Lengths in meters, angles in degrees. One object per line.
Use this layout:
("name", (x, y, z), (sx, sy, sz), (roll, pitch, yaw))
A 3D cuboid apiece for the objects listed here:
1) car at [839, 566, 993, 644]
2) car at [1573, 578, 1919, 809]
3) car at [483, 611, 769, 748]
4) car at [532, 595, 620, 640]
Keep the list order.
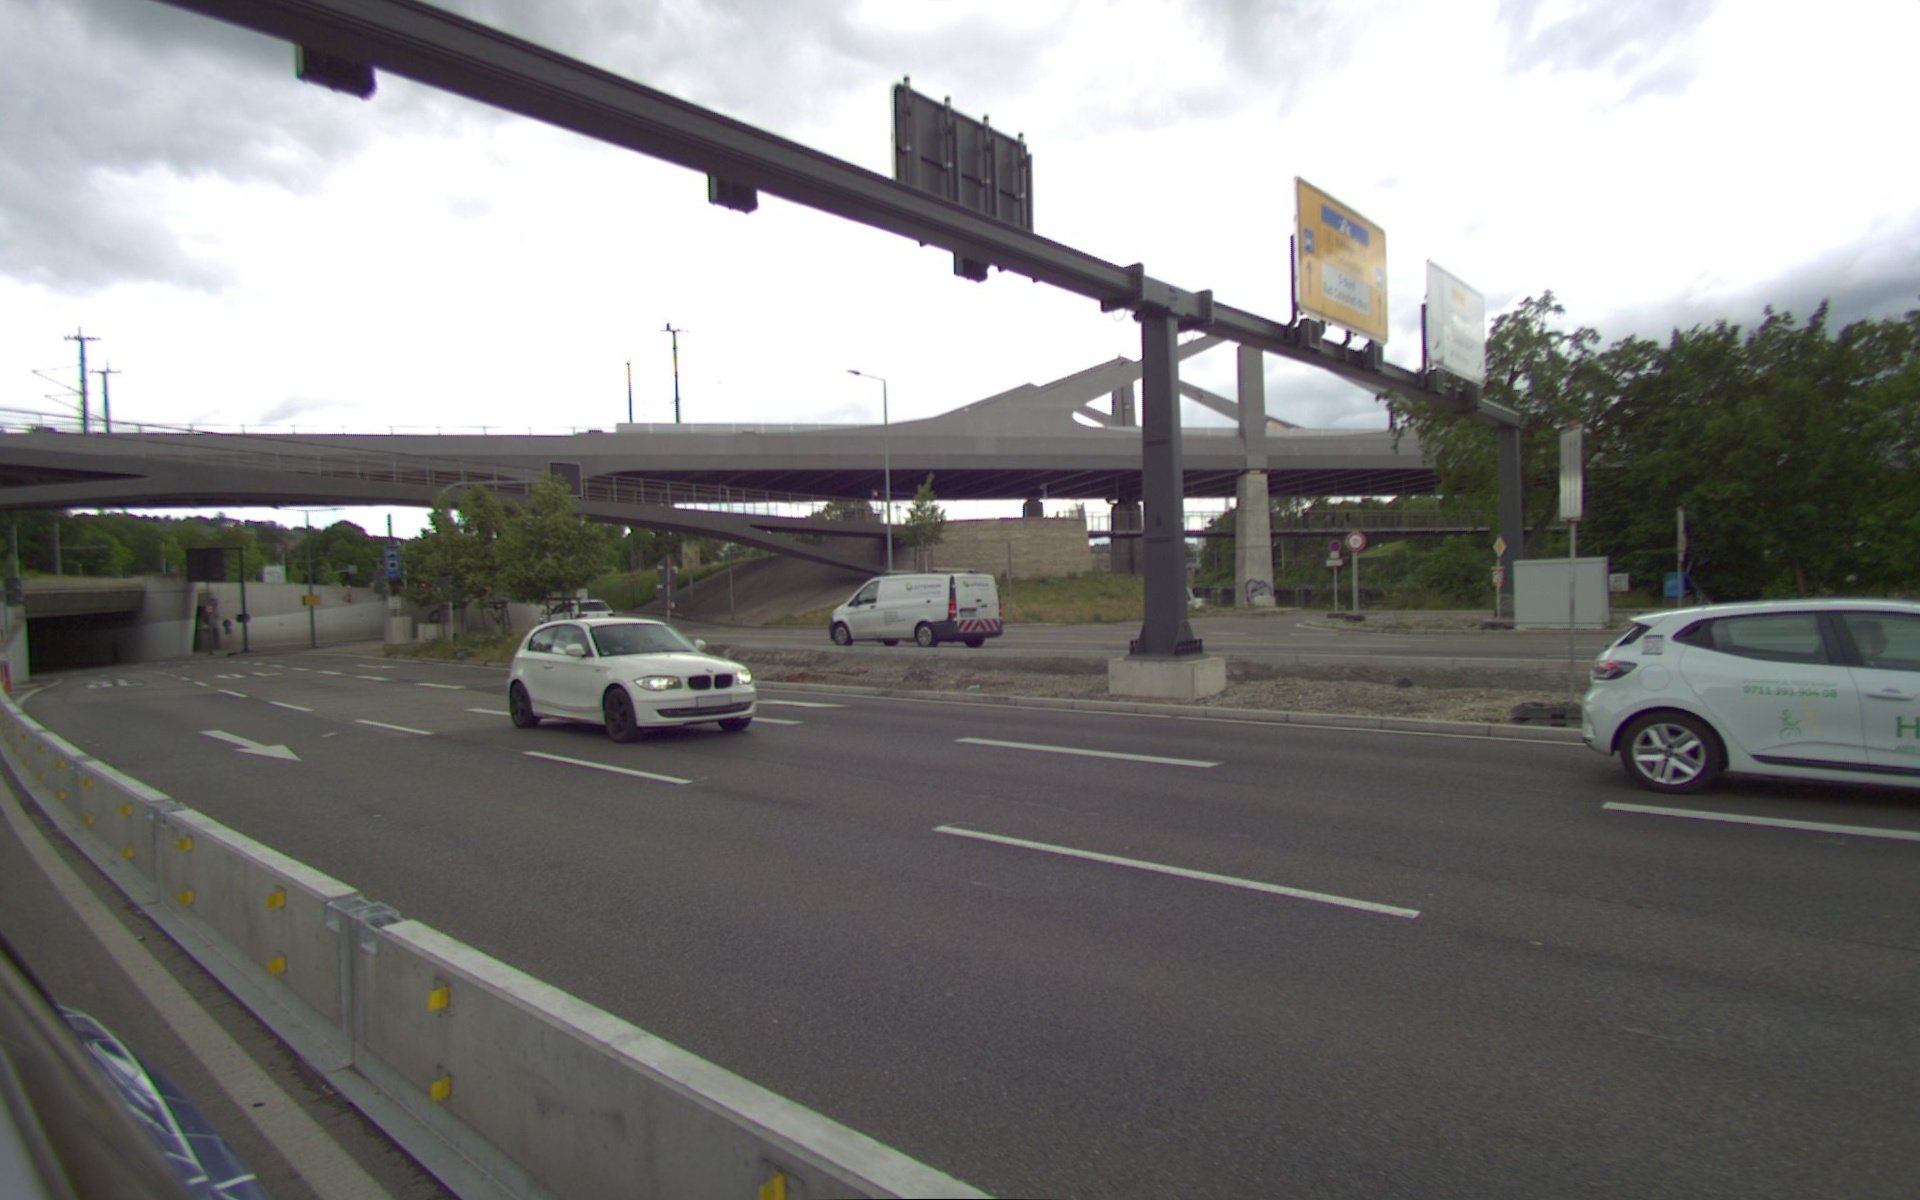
("car", (-1.173, 0.185, 25.711), (3.802, 1.821, 1.805), (-2, -3, 44))
("car", (6.779, 0.593, 7.081), (3.997, 1.495, 1.559), (-2, -1, 43))
("car", (-4.291, 0.879, 12.713), (3.980, 1.444, 1.621), (-1, 0, 41))
("car", (-15.733, 0.733, 41.380), (1.779, 1.674, 4.291), (-3, 0, -44))
